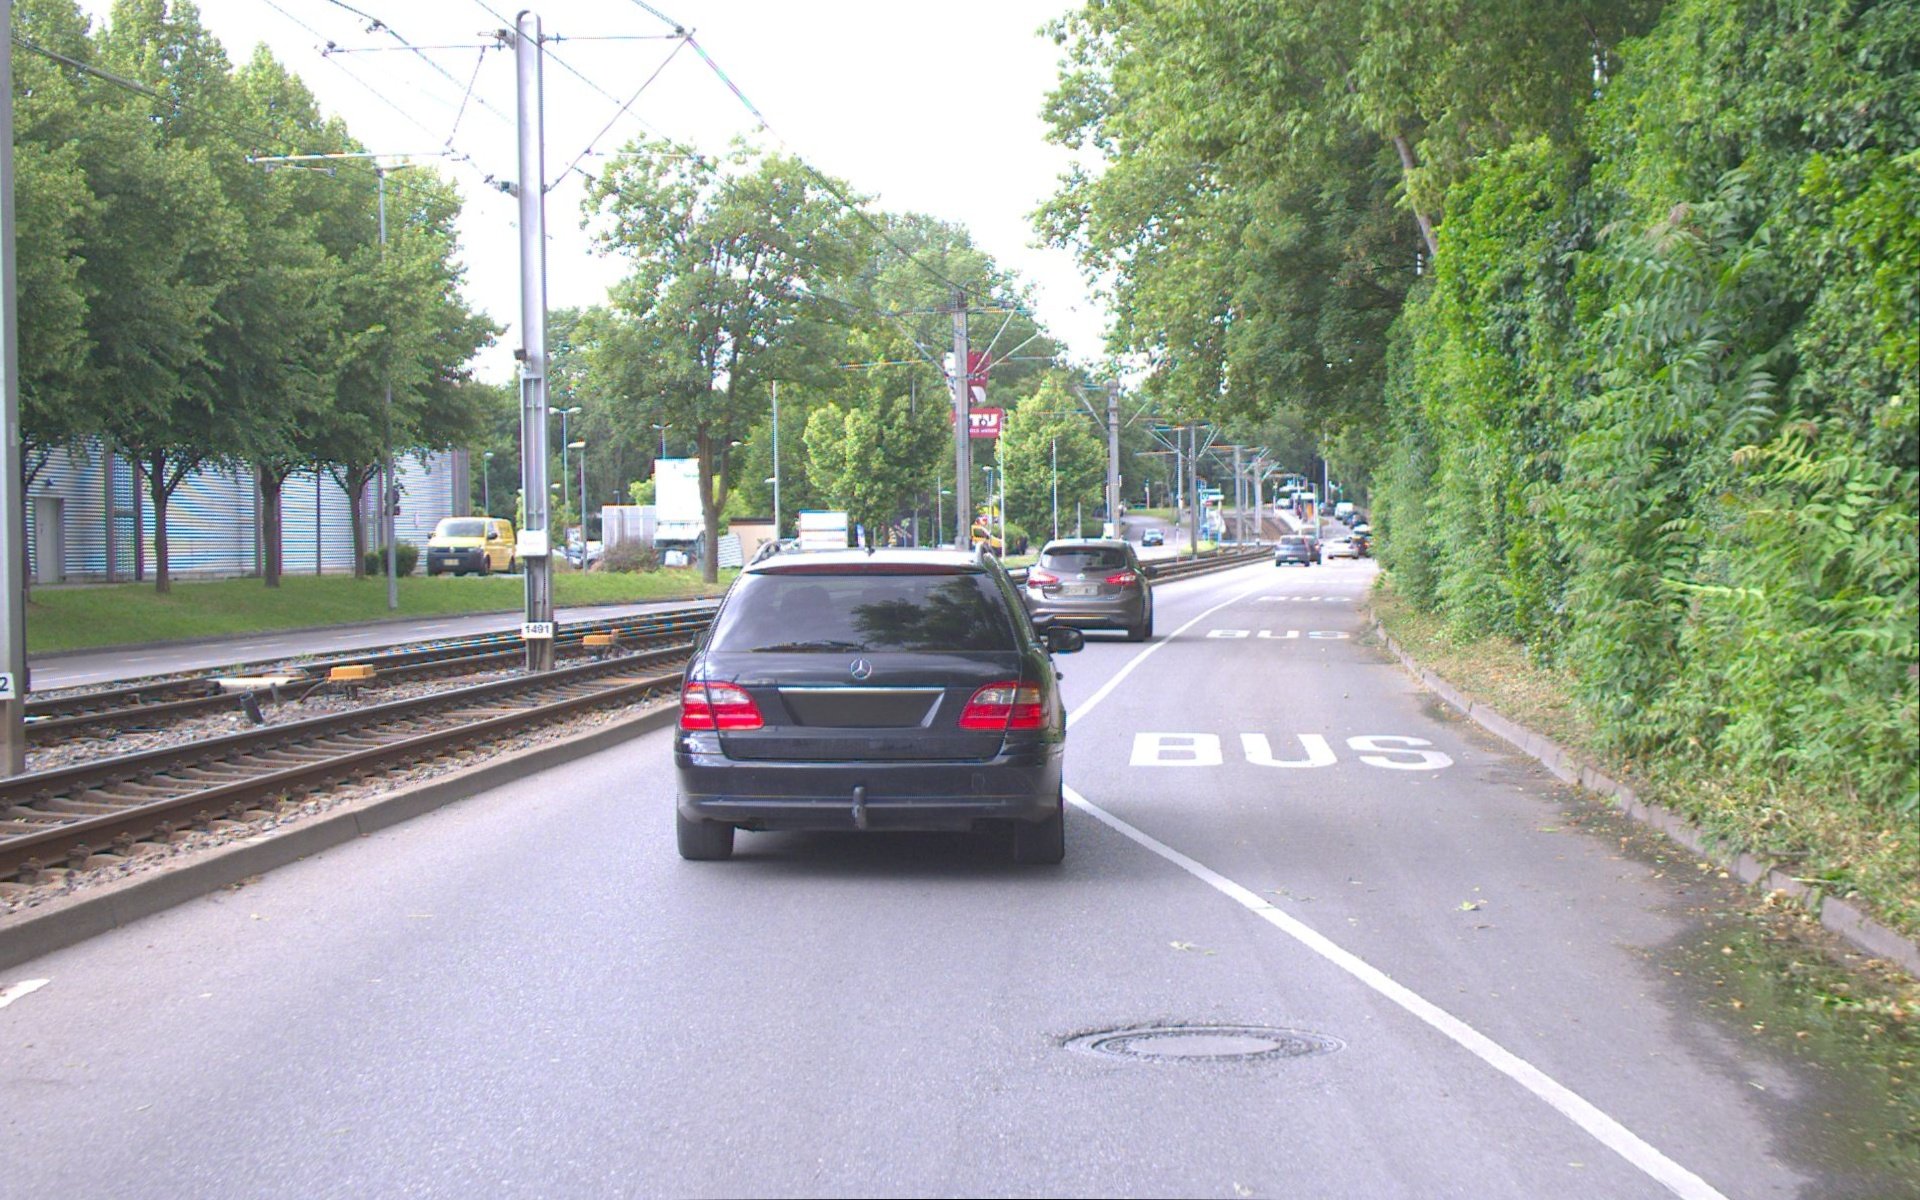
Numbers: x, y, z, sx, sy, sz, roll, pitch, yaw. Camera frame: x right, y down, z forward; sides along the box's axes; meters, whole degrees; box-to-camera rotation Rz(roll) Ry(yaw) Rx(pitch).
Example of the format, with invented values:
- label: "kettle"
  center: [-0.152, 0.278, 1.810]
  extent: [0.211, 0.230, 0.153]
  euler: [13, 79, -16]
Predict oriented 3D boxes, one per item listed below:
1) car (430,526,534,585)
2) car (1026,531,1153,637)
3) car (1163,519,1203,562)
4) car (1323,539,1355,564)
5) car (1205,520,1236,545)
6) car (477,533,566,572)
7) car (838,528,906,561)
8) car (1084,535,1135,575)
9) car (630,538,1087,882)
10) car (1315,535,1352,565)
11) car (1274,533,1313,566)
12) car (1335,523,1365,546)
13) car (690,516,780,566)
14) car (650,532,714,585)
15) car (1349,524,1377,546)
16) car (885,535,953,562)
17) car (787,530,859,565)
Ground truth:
- label: "car"
  center: [-15.001, -1.407, 108.140]
  extent: [1.994, 1.737, 4.986]
  euler: [-2, 1, 7]
- label: "car"
  center: [1.972, -0.269, 51.898]
  extent: [1.825, 1.524, 4.415]
  euler: [0, 1, 3]
- label: "car"
  center: [11.110, -2.947, 171.399]
  extent: [1.892, 2.007, 3.897]
  euler: [-2, 0, 3]
- label: "car"
  center: [23.239, -2.990, 211.023]
  extent: [1.825, 1.524, 4.178]
  euler: [0, 1, 5]
- label: "car"
  center: [15.830, -4.119, 209.048]
  extent: [1.825, 1.524, 4.178]
  euler: [0, 1, 5]
- label: "car"
  center: [-20.904, -2.272, 163.909]
  extent: [3.986, 1.674, 2.000]
  euler: [-3, 0, -11]
- label: "car"
  center: [-4.899, -3.065, 190.826]
  extent: [3.692, 1.809, 1.795]
  euler: [0, 1, -4]
- label: "car"
  center: [5.753, -1.739, 132.004]
  extent: [1.825, 1.524, 3.985]
  euler: [0, 1, 5]
- label: "car"
  center: [-0.360, 0.443, 16.969]
  extent: [1.833, 1.473, 4.415]
  euler: [0, 1, 4]
- label: "car"
  center: [19.168, -2.557, 176.575]
  extent: [1.825, 1.524, 4.178]
  euler: [0, 1, 5]
- label: "car"
  center: [16.072, -2.445, 165.865]
  extent: [1.825, 1.524, 4.415]
  euler: [0, 1, 5]
- label: "car"
  center: [25.359, -4.261, 223.728]
  extent: [1.825, 1.524, 4.178]
  euler: [0, 1, 5]
- label: "car"
  center: [-10.406, -2.726, 158.896]
  extent: [3.987, 2.116, 2.000]
  euler: [-3, 0, -1]
- label: "car"
  center: [-11.172, -1.657, 138.341]
  extent: [1.994, 2.007, 4.000]
  euler: [-2, 0, 3]
- label: "car"
  center: [27.749, -4.487, 236.767]
  extent: [1.825, 1.524, 4.178]
  euler: [0, 1, 5]
- label: "car"
  center: [-2.559, -3.194, 214.053]
  extent: [3.988, 1.639, 2.000]
  euler: [0, 1, 6]
- label: "car"
  center: [-7.150, -2.752, 179.523]
  extent: [3.692, 1.809, 1.795]
  euler: [0, 1, -4]
